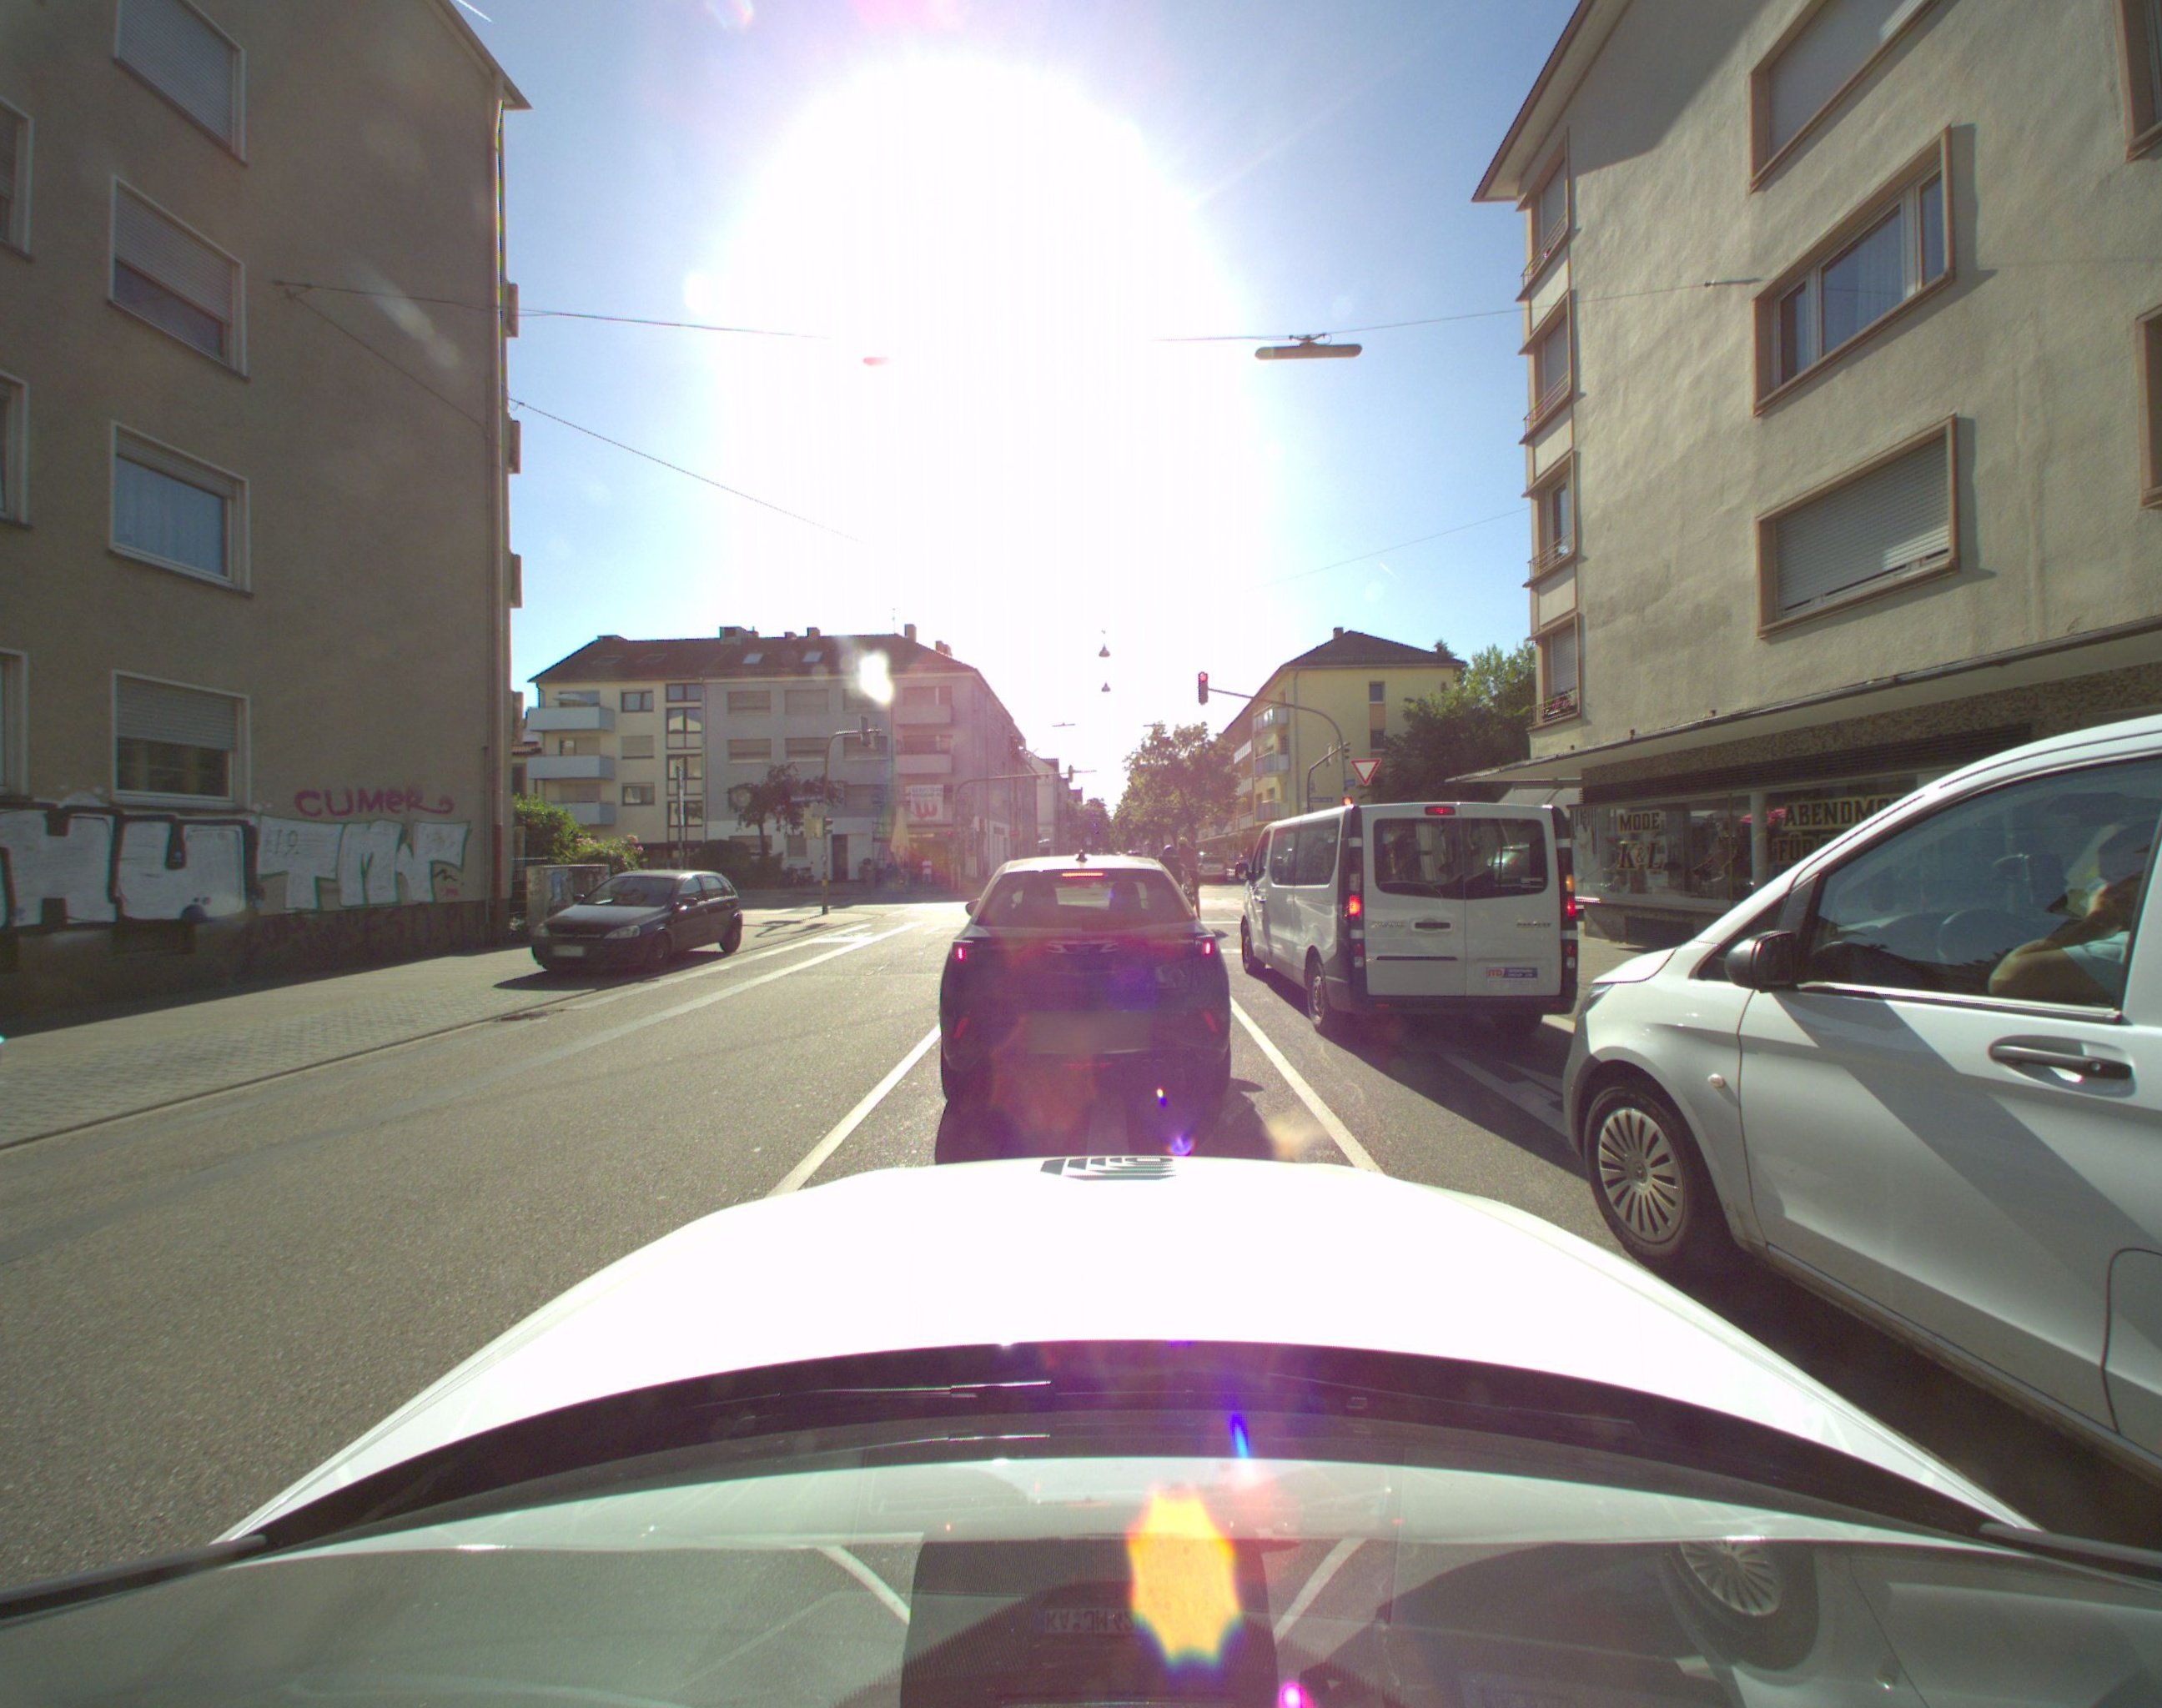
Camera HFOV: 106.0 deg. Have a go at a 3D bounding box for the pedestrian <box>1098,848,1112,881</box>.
[{"bbox_3d":[1.296,0.563,43.544,0.704,1.701,0.802,-1,0,0],"label":"pedestrian"}]

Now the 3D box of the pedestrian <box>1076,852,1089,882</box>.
[{"bbox_3d":[0.087,0.697,43.946,0.678,1.606,0.762,-1,0,0],"label":"pedestrian"}]

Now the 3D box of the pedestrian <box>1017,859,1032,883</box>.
[{"bbox_3d":[-3.044,0.922,43.828,0.704,1.253,0.802,-1,0,0],"label":"pedestrian"}]

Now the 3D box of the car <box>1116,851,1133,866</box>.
[{"bbox_3d":[5.050,0.517,94.014,1.894,1.728,4.003,-1,0,2],"label":"car"}]

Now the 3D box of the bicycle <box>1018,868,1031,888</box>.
[{"bbox_3d":[-3.052,1.276,44.159,0.520,0.992,2.339,-1,0,0],"label":"bicycle"}]

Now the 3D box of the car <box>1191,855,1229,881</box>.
[{"bbox_3d":[7.430,0.792,47.222,1.628,1.433,3.958,-1,0,2],"label":"car"}]

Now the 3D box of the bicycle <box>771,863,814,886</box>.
[{"bbox_3d":[-15.332,1.067,43.312,2.103,1.172,0.735,-1,0,-22],"label":"bicycle"}]

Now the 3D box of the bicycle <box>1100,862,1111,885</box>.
[{"bbox_3d":[1.321,1.034,43.591,0.520,1.147,2.170,-1,0,0],"label":"bicycle"}]

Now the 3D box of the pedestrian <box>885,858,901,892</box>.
[{"bbox_3d":[-8.737,0.973,37.803,0.582,1.521,0.649,-1,0,-1],"label":"pedestrian"}]

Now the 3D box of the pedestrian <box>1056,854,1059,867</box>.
[{"bbox_3d":[-3.016,0.778,105.321,0.400,1.675,0.418,-1,0,1],"label":"pedestrian"}]

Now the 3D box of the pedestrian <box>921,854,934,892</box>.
[{"bbox_3d":[-7.227,0.876,38.386,0.560,1.775,0.582,-1,0,-7],"label":"pedestrian"}]

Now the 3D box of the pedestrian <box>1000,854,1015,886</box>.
[{"bbox_3d":[-3.960,0.845,43.876,0.704,1.678,0.802,-1,0,0],"label":"pedestrian"}]

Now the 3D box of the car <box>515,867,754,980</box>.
[{"bbox_3d":[-6.764,0.965,12.826,1.610,1.425,3.711,1,0,1],"label":"car"}]

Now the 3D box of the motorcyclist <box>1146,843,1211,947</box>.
[{"bbox_3d":[1.468,0.604,12.473,0.861,1.502,1.160,-1,0,1],"label":"motorcyclist"}]

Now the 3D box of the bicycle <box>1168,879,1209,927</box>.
[{"bbox_3d":[2.313,1.043,17.746,0.575,0.904,2.301,-1,0,0],"label":"bicycle"}]

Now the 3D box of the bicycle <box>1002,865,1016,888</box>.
[{"bbox_3d":[-3.904,1.216,44.237,0.520,1.147,2.283,-1,0,0],"label":"bicycle"}]

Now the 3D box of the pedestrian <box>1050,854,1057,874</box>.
[{"bbox_3d":[-2.353,0.821,69.705,0.568,1.690,0.588,-1,0,1],"label":"pedestrian"}]

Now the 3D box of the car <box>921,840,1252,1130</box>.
[{"bbox_3d":[0.038,0.709,6.414,1.765,1.530,3.999,-1,0,0],"label":"car"}]

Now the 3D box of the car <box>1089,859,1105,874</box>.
[{"bbox_3d":[1.924,1.457,97.443,1.817,1.728,4.004,-1,0,3],"label":"car"}]

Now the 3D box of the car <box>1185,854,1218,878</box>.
[{"bbox_3d":[7.616,0.744,51.847,1.628,1.433,4.002,-1,0,2],"label":"car"}]

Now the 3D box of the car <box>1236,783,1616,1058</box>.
[{"bbox_3d":[2.980,0.481,8.387,1.986,1.979,4.897,1,0,2],"label":"car"}]

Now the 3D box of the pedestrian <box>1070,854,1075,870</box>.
[{"bbox_3d":[-0.858,0.882,86.464,0.486,1.690,0.588,-1,0,1],"label":"pedestrian"}]

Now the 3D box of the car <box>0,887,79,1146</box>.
[{"bbox_3d":[-7.108,0.924,2.608,1.711,1.465,4.817,1,0,1],"label":"car"}]

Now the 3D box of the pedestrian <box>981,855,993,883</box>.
[{"bbox_3d":[-5.215,0.842,45.207,0.615,1.521,0.724,-1,0,-1],"label":"pedestrian"}]

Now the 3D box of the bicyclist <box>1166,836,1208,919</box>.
[{"bbox_3d":[2.279,0.479,17.621,0.687,1.712,1.414,-1,0,0],"label":"bicyclist"}]

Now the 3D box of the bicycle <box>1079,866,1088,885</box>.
[{"bbox_3d":[0.138,1.163,44.020,0.442,0.992,2.068,-1,0,0],"label":"bicycle"}]

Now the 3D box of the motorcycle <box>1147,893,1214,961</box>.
[{"bbox_3d":[1.462,1.063,12.285,0.822,0.845,1.885,-1,0,1],"label":"motorcycle"}]

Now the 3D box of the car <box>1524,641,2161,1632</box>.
[{"bbox_3d":[2.937,0.519,1.250,1.830,1.869,4.997,-1,0,1],"label":"car"}]

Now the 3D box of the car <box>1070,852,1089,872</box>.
[{"bbox_3d":[-0.160,0.782,84.647,1.848,2.013,3.882,-1,0,2],"label":"car"}]

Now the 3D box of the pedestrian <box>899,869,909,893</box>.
[{"bbox_3d":[-8.212,1.234,37.801,0.354,1.092,0.461,-1,0,-1],"label":"pedestrian"}]

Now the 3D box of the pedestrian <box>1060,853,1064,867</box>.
[{"bbox_3d":[-2.475,0.775,104.903,0.400,1.675,0.418,-1,0,1],"label":"pedestrian"}]

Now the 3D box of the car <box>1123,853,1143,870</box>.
[{"bbox_3d":[5.326,0.751,83.810,1.894,1.728,4.076,-1,0,3],"label":"car"}]
